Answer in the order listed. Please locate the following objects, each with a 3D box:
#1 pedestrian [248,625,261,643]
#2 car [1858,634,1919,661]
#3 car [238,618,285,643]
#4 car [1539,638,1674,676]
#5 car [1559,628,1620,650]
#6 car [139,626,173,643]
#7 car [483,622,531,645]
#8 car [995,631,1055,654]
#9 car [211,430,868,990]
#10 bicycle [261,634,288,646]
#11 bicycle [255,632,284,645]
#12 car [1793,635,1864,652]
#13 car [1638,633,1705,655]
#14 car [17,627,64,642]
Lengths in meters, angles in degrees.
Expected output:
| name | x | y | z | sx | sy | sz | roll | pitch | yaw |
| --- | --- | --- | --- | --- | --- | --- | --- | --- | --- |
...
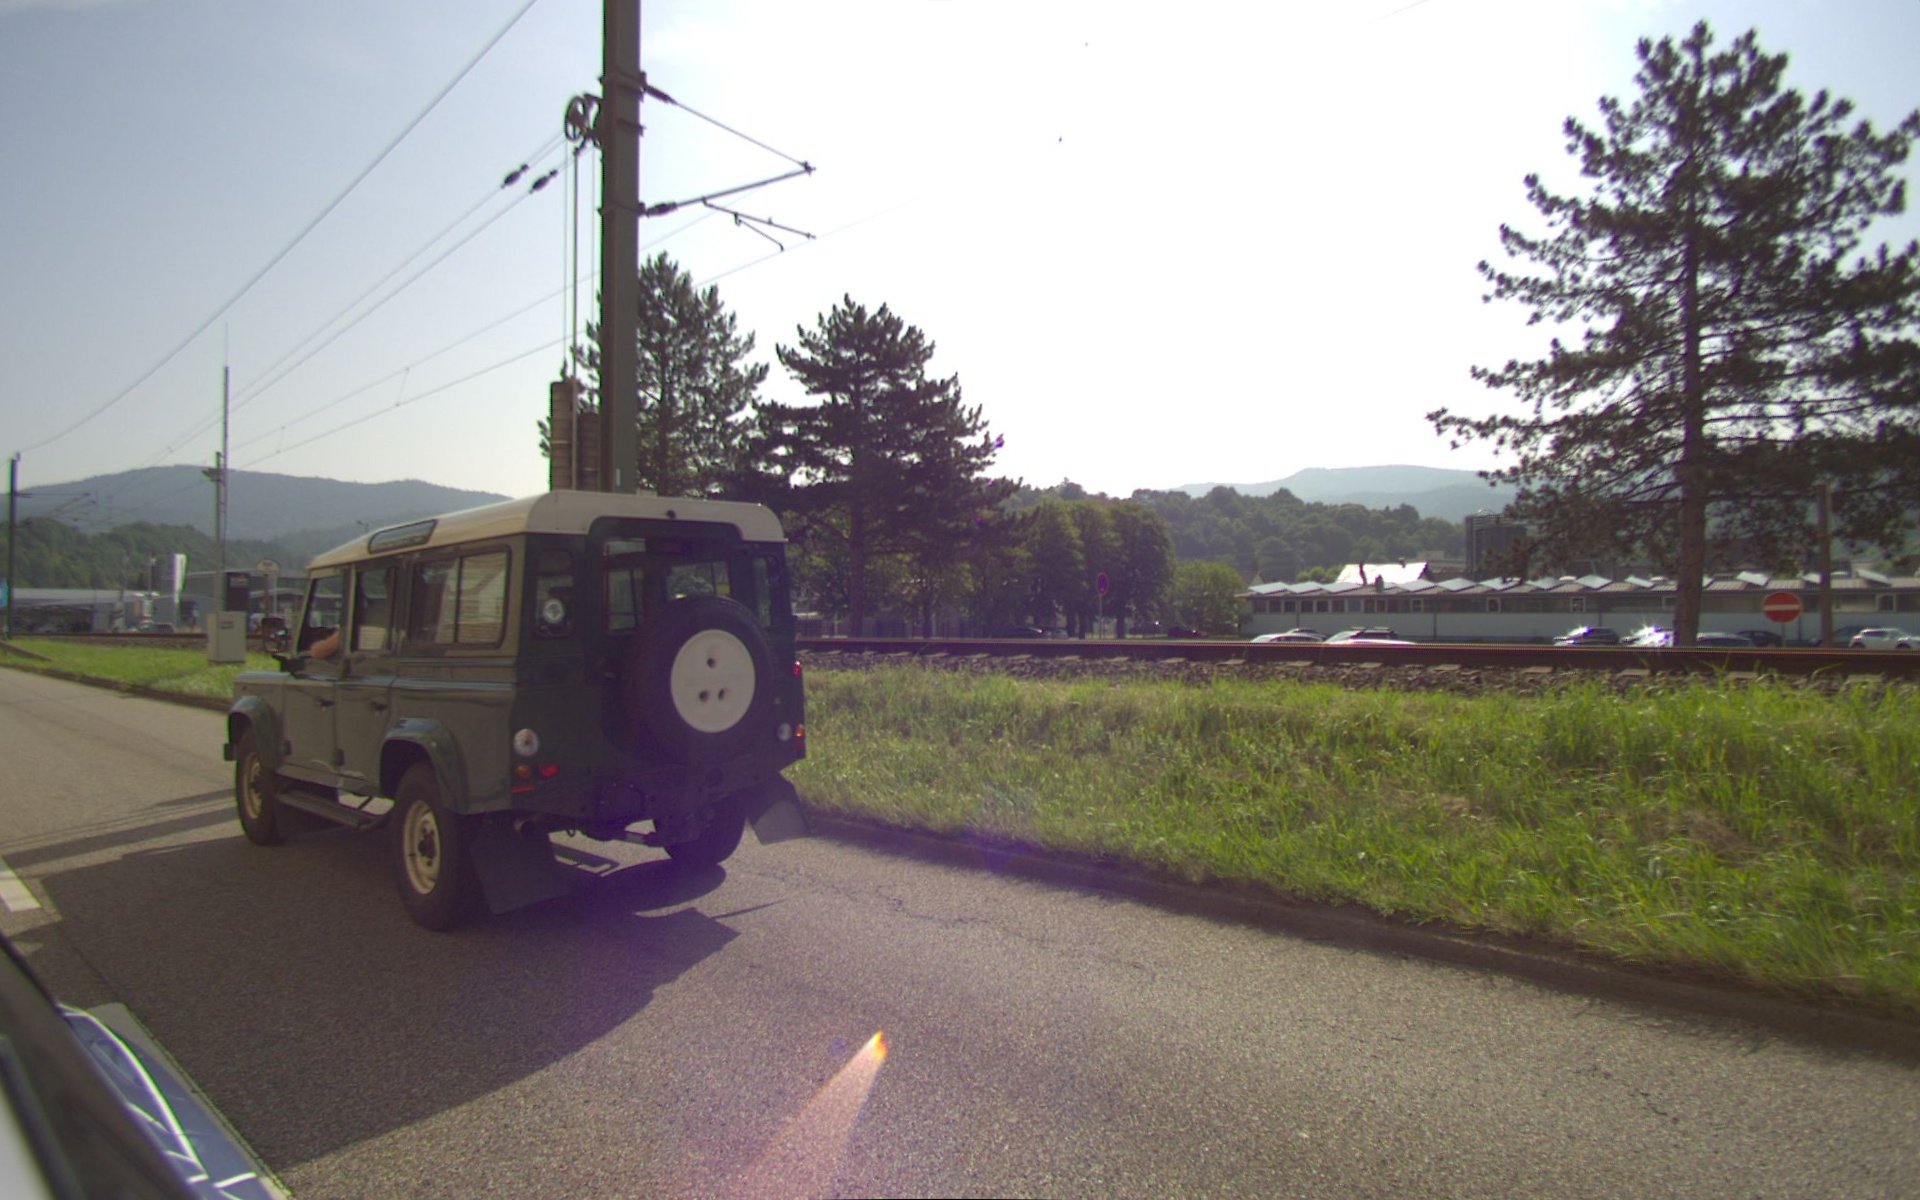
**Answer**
| name | x | y | z | sx | sy | sz | roll | pitch | yaw |
| --- | --- | --- | --- | --- | --- | --- | --- | --- | --- |
| pedestrian | -53.226 | 2.592 | 76.353 | 0.672 | 1.342 | 0.569 | -1 | -2 | 32 |
| car | 55.464 | 2.773 | 59.615 | 1.540 | 1.534 | 3.547 | 1 | -2 | -16 |
| car | -79.716 | 3.425 | 115.456 | 6.145 | 2.653 | 2.353 | 1 | -1 | 34 |
| car | 22.862 | 2.006 | 35.856 | 3.795 | 1.272 | 1.568 | 0 | -2 | -3 |
| car | 42.760 | 2.646 | 68.771 | 3.456 | 1.457 | 1.562 | -1 | -2 | 34 |
| car | -84.706 | 3.615 | 106.630 | 4.358 | 1.701 | 1.506 | -1 | 0 | 33 |
| car | -27.787 | 2.028 | 62.063 | 2.889 | 1.362 | 1.378 | -1 | -2 | 36 |
| car | 4.567 | 2.958 | 71.237 | 3.986 | 1.560 | 1.666 | -1 | -2 | 32 |
| car | -2.834 | 0.446 | 6.061 | 4.806 | 2.094 | 1.739 | -1 | -1 | 42 |
| bicycle | -66.684 | 3.918 | 98.465 | 0.726 | 1.139 | 2.155 | -1 | -2 | 26 |
| bicycle | -65.248 | 3.621 | 95.674 | 0.726 | 1.139 | 2.155 | -1 | -2 | 26 |
| car | 57.673 | 2.887 | 67.297 | 3.533 | 1.119 | 1.321 | -1 | -2 | 40 |
| car | 45.262 | 2.772 | 64.459 | 3.433 | 1.335 | 1.429 | -1 | -2 | 34 |
| car | -111.313 | 4.160 | 122.546 | 1.658 | 1.539 | 3.925 | -1 | 1 | 33 |
